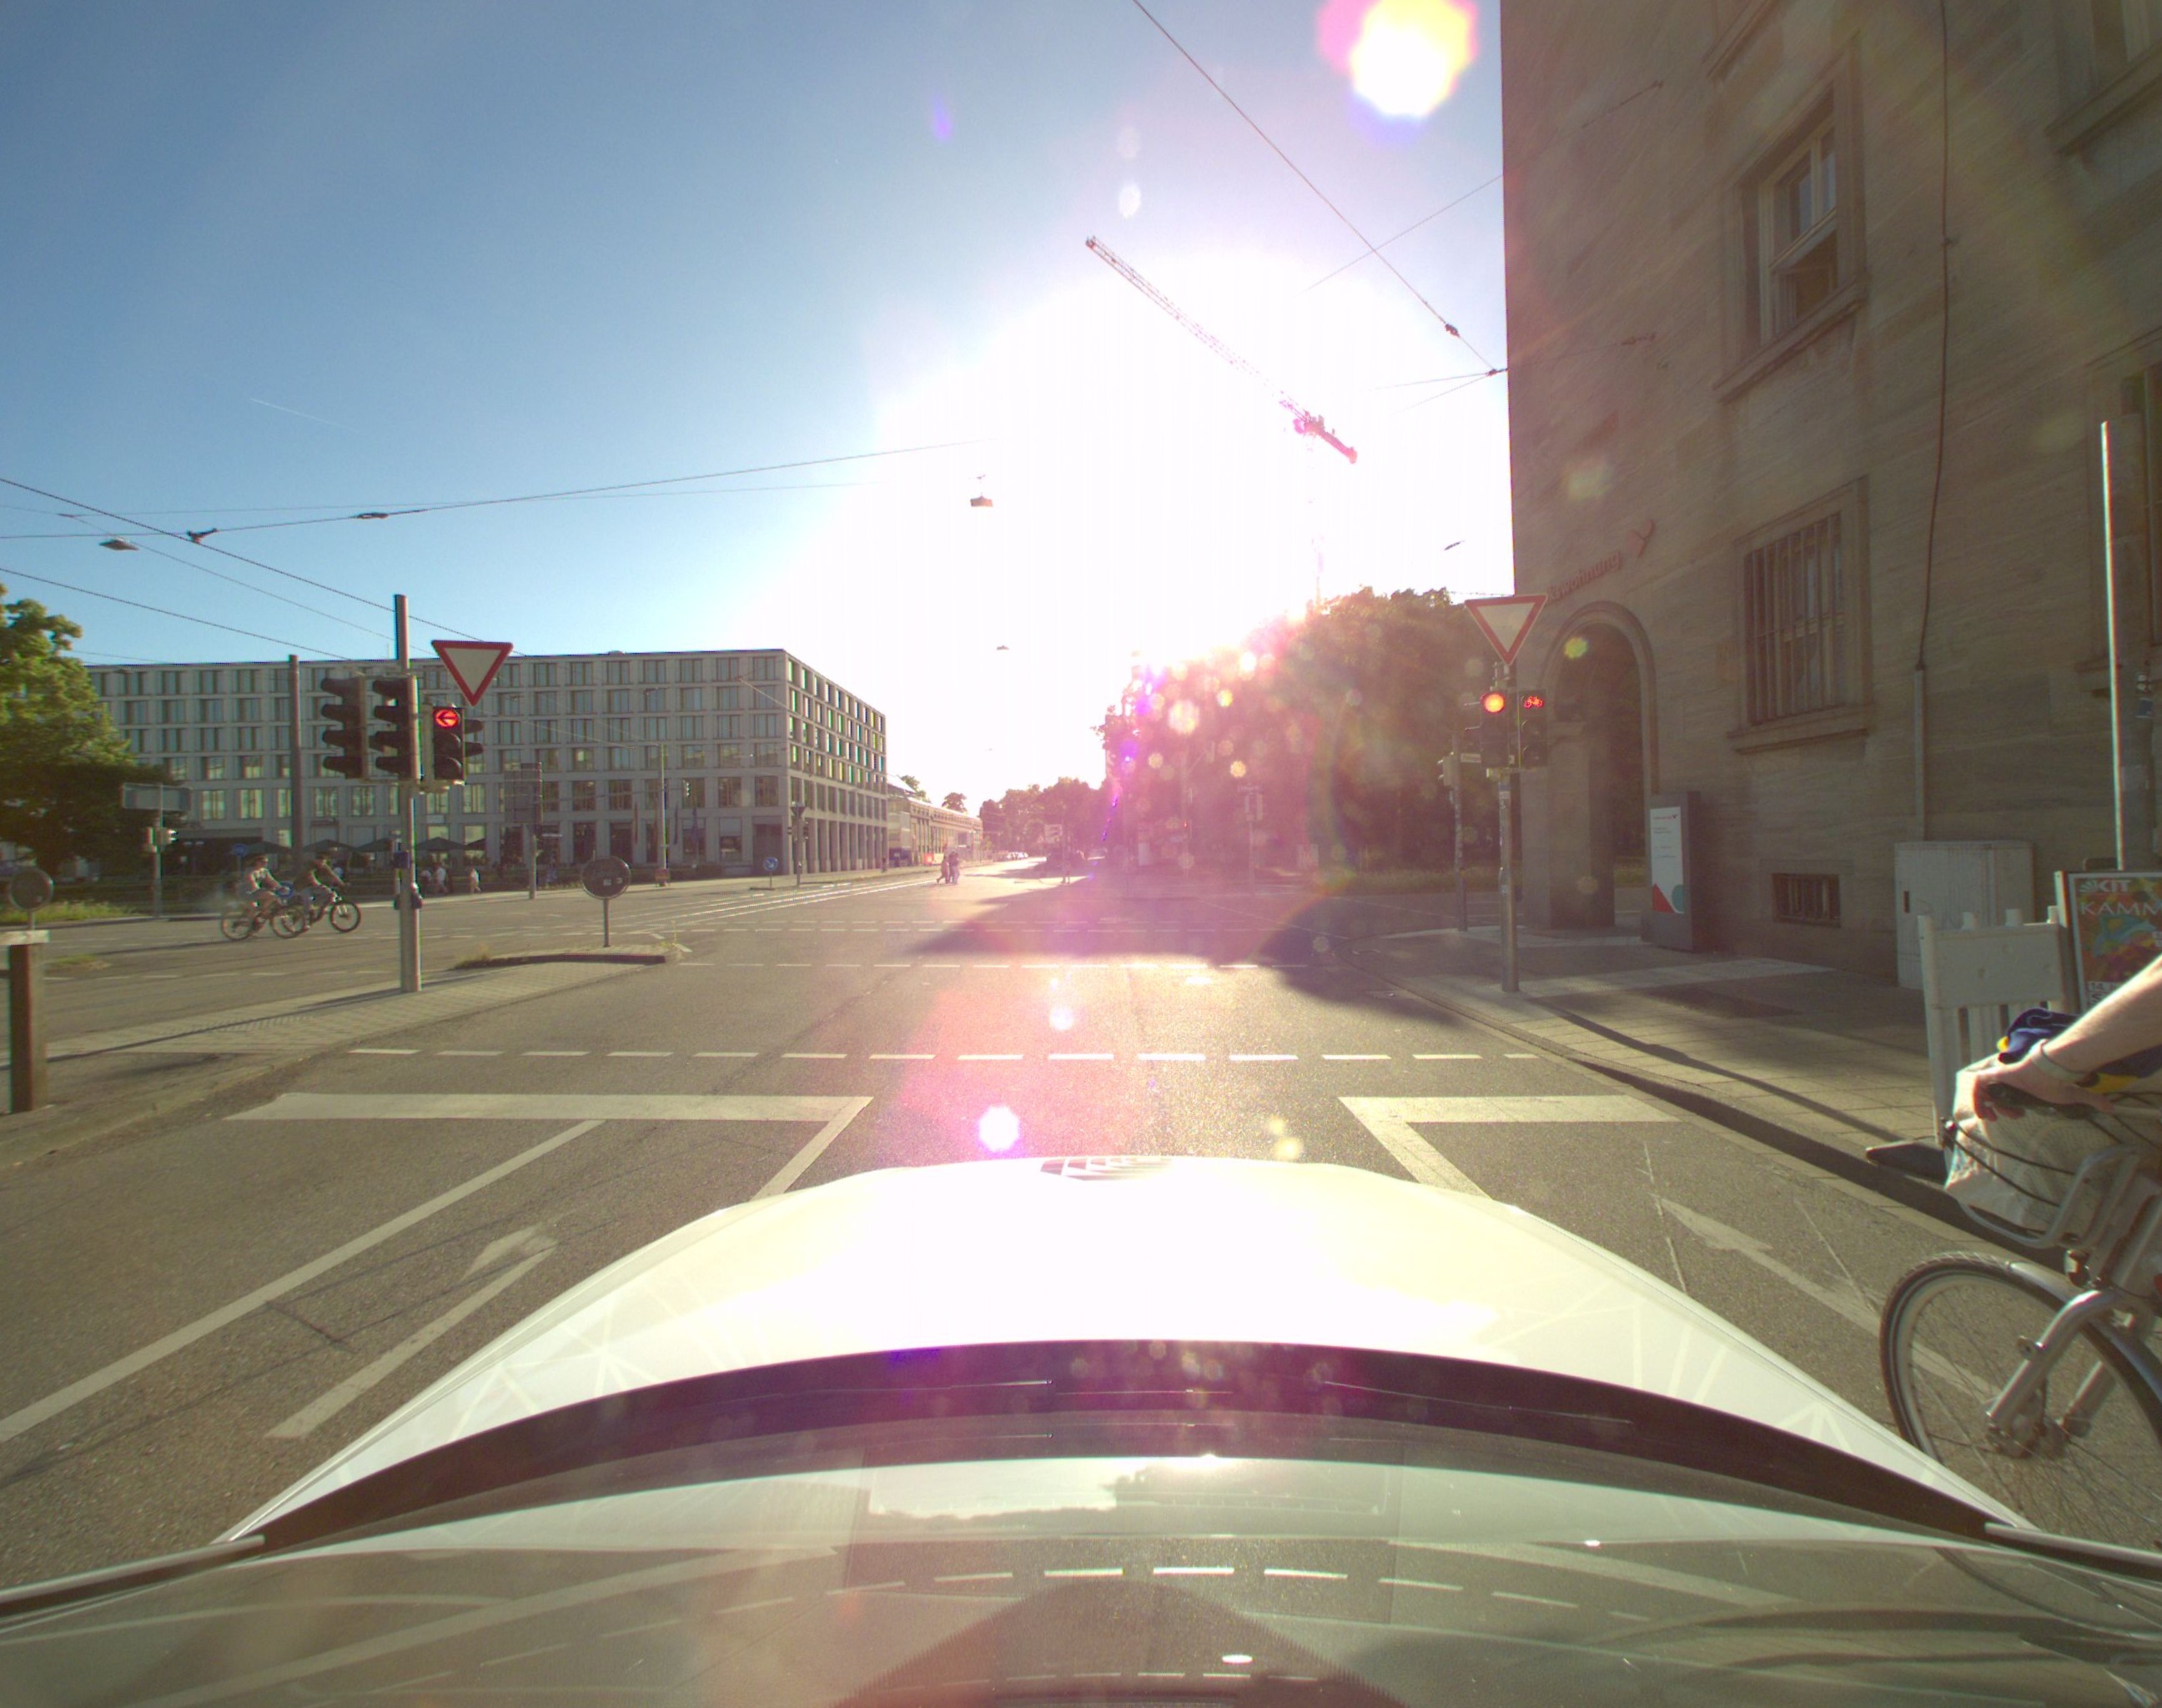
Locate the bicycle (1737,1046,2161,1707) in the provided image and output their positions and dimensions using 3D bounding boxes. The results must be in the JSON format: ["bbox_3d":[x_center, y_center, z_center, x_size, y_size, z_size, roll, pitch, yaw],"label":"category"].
[{"bbox_3d":[1.989,1.026,1.437,0.387,0.905,1.956,-2,0,10],"label":"bicycle"}]

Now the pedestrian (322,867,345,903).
[{"bbox_3d":[-40.511,1.692,44.162,0.557,1.903,0.684,-2,0,10],"label":"pedestrian"}]

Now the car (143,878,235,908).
[{"bbox_3d":[-46.961,2.050,42.918,3.174,1.438,1.471,-2,0,0],"label":"car"}]

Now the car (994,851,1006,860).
[{"bbox_3d":[-15.585,0.306,156.671,1.724,1.653,4.002,-2,0,2],"label":"car"}]

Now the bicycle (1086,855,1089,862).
[{"bbox_3d":[0.833,0.508,99.850,0.323,0.868,1.484,-2,0,2],"label":"bicycle"}]

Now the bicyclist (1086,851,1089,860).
[{"bbox_3d":[0.834,0.143,99.759,0.317,1.127,0.291,-2,0,1],"label":"bicyclist"}]

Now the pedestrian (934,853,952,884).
[{"bbox_3d":[-7.458,0.789,43.899,0.792,1.639,0.534,-2,0,4],"label":"pedestrian"}]

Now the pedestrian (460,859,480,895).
[{"bbox_3d":[-34.371,1.289,45.839,0.528,2.013,0.800,-2,0,-5],"label":"pedestrian"}]

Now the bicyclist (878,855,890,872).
[{"bbox_3d":[-18.939,0.900,78.417,0.872,1.641,0.822,-2,0,3],"label":"bicyclist"}]

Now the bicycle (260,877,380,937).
[{"bbox_3d":[-17.598,1.213,18.863,1.979,1.291,0.792,-2,0,0],"label":"bicycle"}]

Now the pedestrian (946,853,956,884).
[{"bbox_3d":[-7.222,0.803,45.276,0.440,1.662,0.376,-2,0,1],"label":"pedestrian"}]

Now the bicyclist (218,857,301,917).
[{"bbox_3d":[-17.490,0.683,17.353,0.922,1.218,0.796,-2,0,-1],"label":"bicyclist"}]

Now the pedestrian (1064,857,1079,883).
[{"bbox_3d":[-0.514,0.869,44.453,0.749,1.332,0.743,-2,0,3],"label":"pedestrian"}]

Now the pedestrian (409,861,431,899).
[{"bbox_3d":[-35.674,1.383,43.941,0.528,2.013,0.800,-2,0,-5],"label":"pedestrian"}]

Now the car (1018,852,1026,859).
[{"bbox_3d":[-14.060,0.324,194.731,1.478,1.750,4.002,-2,0,2],"label":"car"}]

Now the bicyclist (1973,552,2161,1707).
[{"bbox_3d":[1.885,0.402,1.065,0.667,1.678,0.657,-2,0,1],"label":"bicyclist"}]

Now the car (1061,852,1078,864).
[{"bbox_3d":[-1.254,0.434,92.055,1.814,1.279,3.999,-2,0,0],"label":"car"}]

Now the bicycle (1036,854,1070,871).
[{"bbox_3d":[-2.327,0.728,67.364,2.728,1.367,0.633,-1,-1,12],"label":"bicycle"}]

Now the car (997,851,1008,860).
[{"bbox_3d":[-15.488,0.318,160.777,1.724,1.653,4.002,-2,0,2],"label":"car"}]

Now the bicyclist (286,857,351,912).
[{"bbox_3d":[-17.650,0.697,18.878,0.718,1.218,0.798,-2,0,1],"label":"bicyclist"}]

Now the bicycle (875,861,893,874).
[{"bbox_3d":[-18.943,1.303,78.360,0.872,1.121,3.015,-2,0,3],"label":"bicycle"}]

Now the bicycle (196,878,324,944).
[{"bbox_3d":[-17.474,1.202,17.360,1.846,1.291,0.791,-2,0,-2],"label":"bicycle"}]

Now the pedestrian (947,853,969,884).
[{"bbox_3d":[-6.556,0.775,43.342,0.980,1.587,0.661,-2,-1,3],"label":"pedestrian"}]

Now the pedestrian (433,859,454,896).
[{"bbox_3d":[-35.915,1.321,45.914,0.528,2.013,0.800,-2,0,-5],"label":"pedestrian"}]

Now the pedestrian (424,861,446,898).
[{"bbox_3d":[-35.755,1.406,45.074,0.528,2.013,0.800,-2,0,-5],"label":"pedestrian"}]
